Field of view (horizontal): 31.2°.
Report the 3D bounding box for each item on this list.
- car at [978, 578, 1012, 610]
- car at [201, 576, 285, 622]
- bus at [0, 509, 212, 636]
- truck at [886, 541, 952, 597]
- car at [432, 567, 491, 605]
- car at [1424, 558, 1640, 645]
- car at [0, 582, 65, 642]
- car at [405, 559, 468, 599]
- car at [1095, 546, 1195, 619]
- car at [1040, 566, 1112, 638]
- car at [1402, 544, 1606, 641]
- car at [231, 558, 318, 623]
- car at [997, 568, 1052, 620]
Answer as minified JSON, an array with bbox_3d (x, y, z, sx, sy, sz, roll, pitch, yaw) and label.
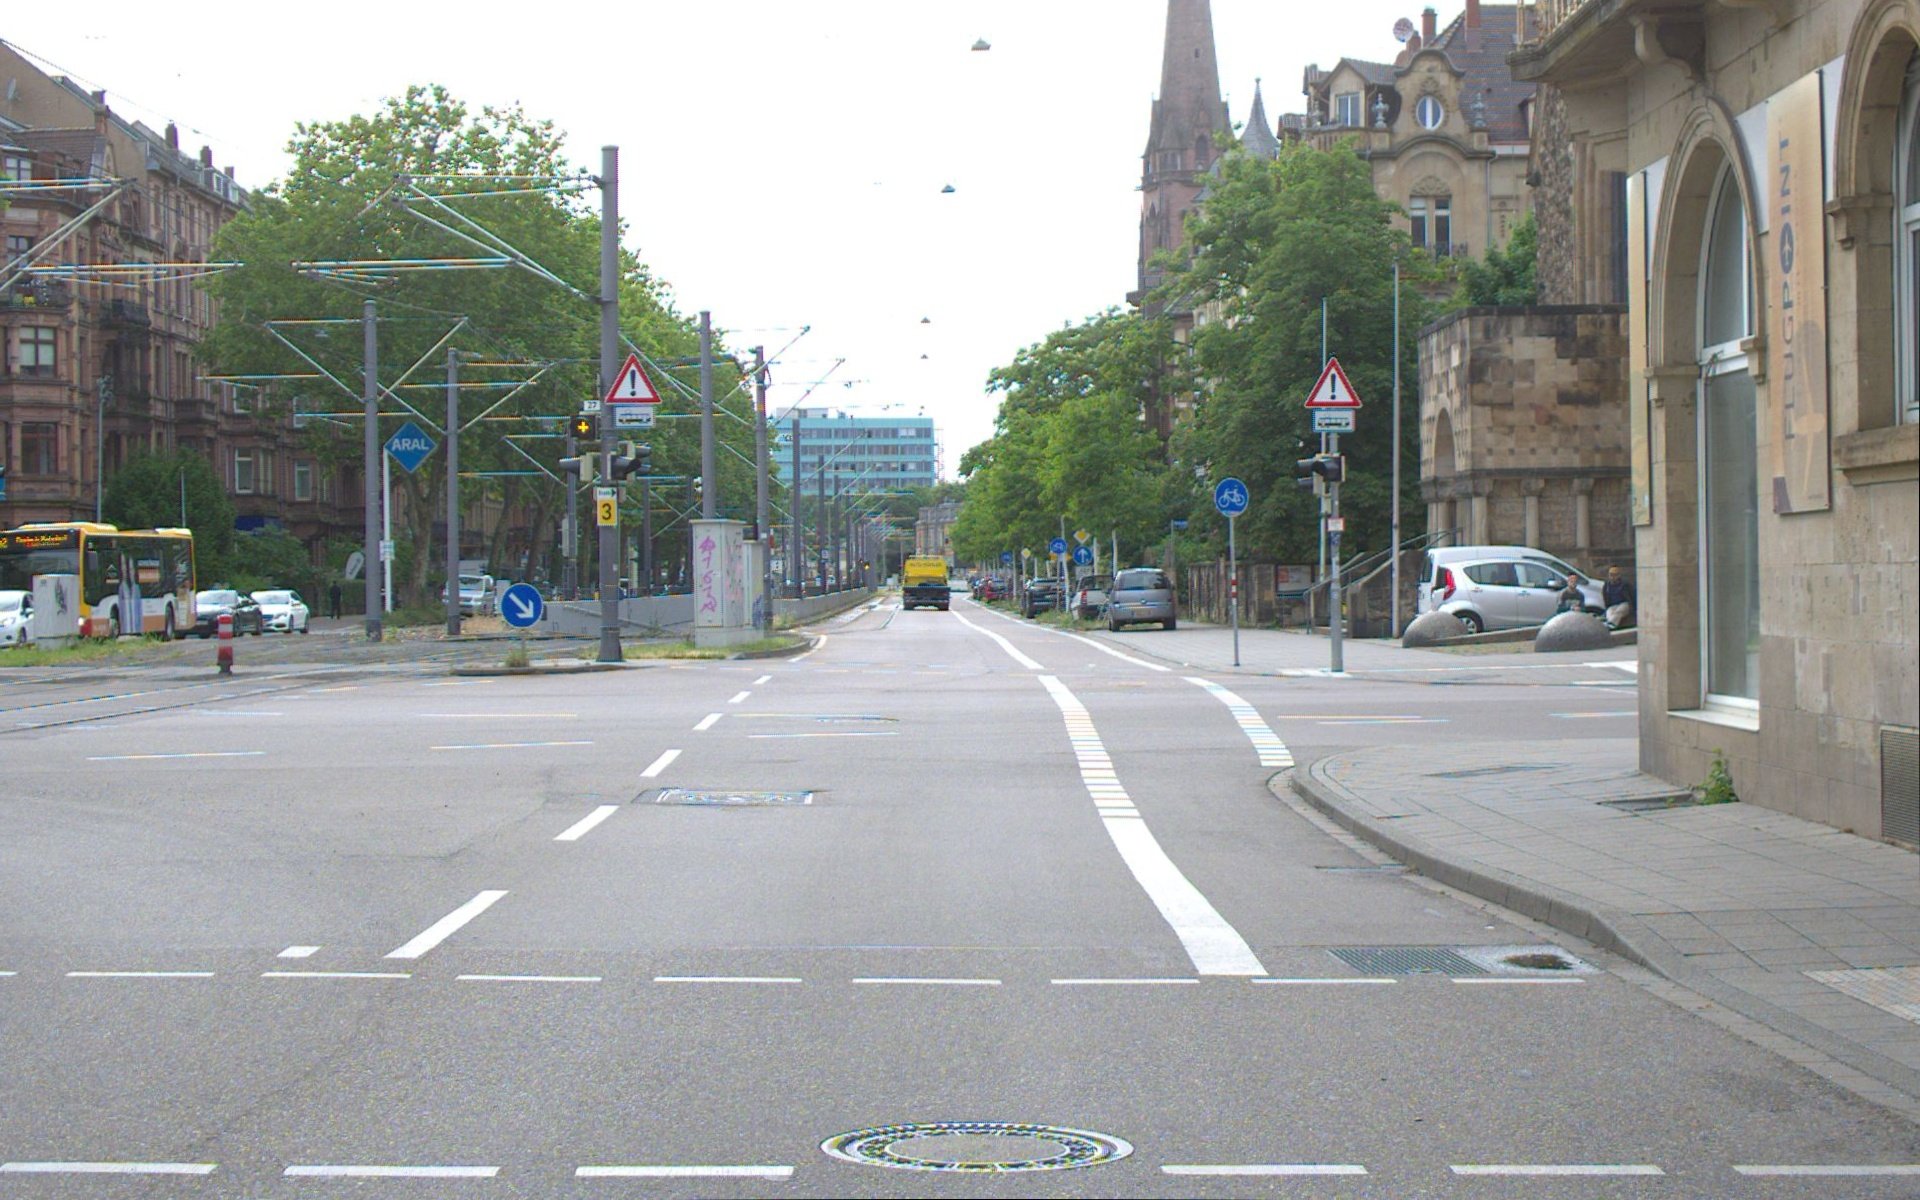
[{"bbox_3d":[2.192,-0.386,216.844,1.993,2.007,4.000,1,1,-1],"label":"car"},{"bbox_3d":[-21.285,-0.041,102.222,1.656,1.316,3.638,1,1,1],"label":"car"},{"bbox_3d":[-22.479,-0.723,89.102,3.231,3.025,12.311,1,1,1],"label":"bus"},{"bbox_3d":[-2.062,-1.621,178.107,3.055,2.760,9.815,0,1,1],"label":"truck"},{"bbox_3d":[-21.630,-0.626,149.345,1.993,1.605,4.000,1,1,-1],"label":"car"},{"bbox_3d":[10.763,0.018,64.889,3.713,1.558,2.000,1,0,0],"label":"car"},{"bbox_3d":[-21.912,0.265,79.053,1.656,1.316,3.638,1,1,1],"label":"car"},{"bbox_3d":[-21.539,-0.867,141.528,1.993,1.605,4.000,1,1,-1],"label":"car"},{"bbox_3d":[4.866,-0.468,89.992,1.994,1.849,4.024,1,1,12],"label":"car"},{"bbox_3d":[3.339,0.039,99.472,1.993,2.007,4.000,1,1,1],"label":"car"},{"bbox_3d":[10.791,-0.160,68.412,3.713,1.849,2.000,1,0,0],"label":"car"},{"bbox_3d":[-21.840,-0.312,109.610,1.993,2.007,4.000,1,1,-1],"label":"car"},{"bbox_3d":[2.537,-0.267,135.997,1.993,2.007,4.000,1,1,-1],"label":"car"}]
